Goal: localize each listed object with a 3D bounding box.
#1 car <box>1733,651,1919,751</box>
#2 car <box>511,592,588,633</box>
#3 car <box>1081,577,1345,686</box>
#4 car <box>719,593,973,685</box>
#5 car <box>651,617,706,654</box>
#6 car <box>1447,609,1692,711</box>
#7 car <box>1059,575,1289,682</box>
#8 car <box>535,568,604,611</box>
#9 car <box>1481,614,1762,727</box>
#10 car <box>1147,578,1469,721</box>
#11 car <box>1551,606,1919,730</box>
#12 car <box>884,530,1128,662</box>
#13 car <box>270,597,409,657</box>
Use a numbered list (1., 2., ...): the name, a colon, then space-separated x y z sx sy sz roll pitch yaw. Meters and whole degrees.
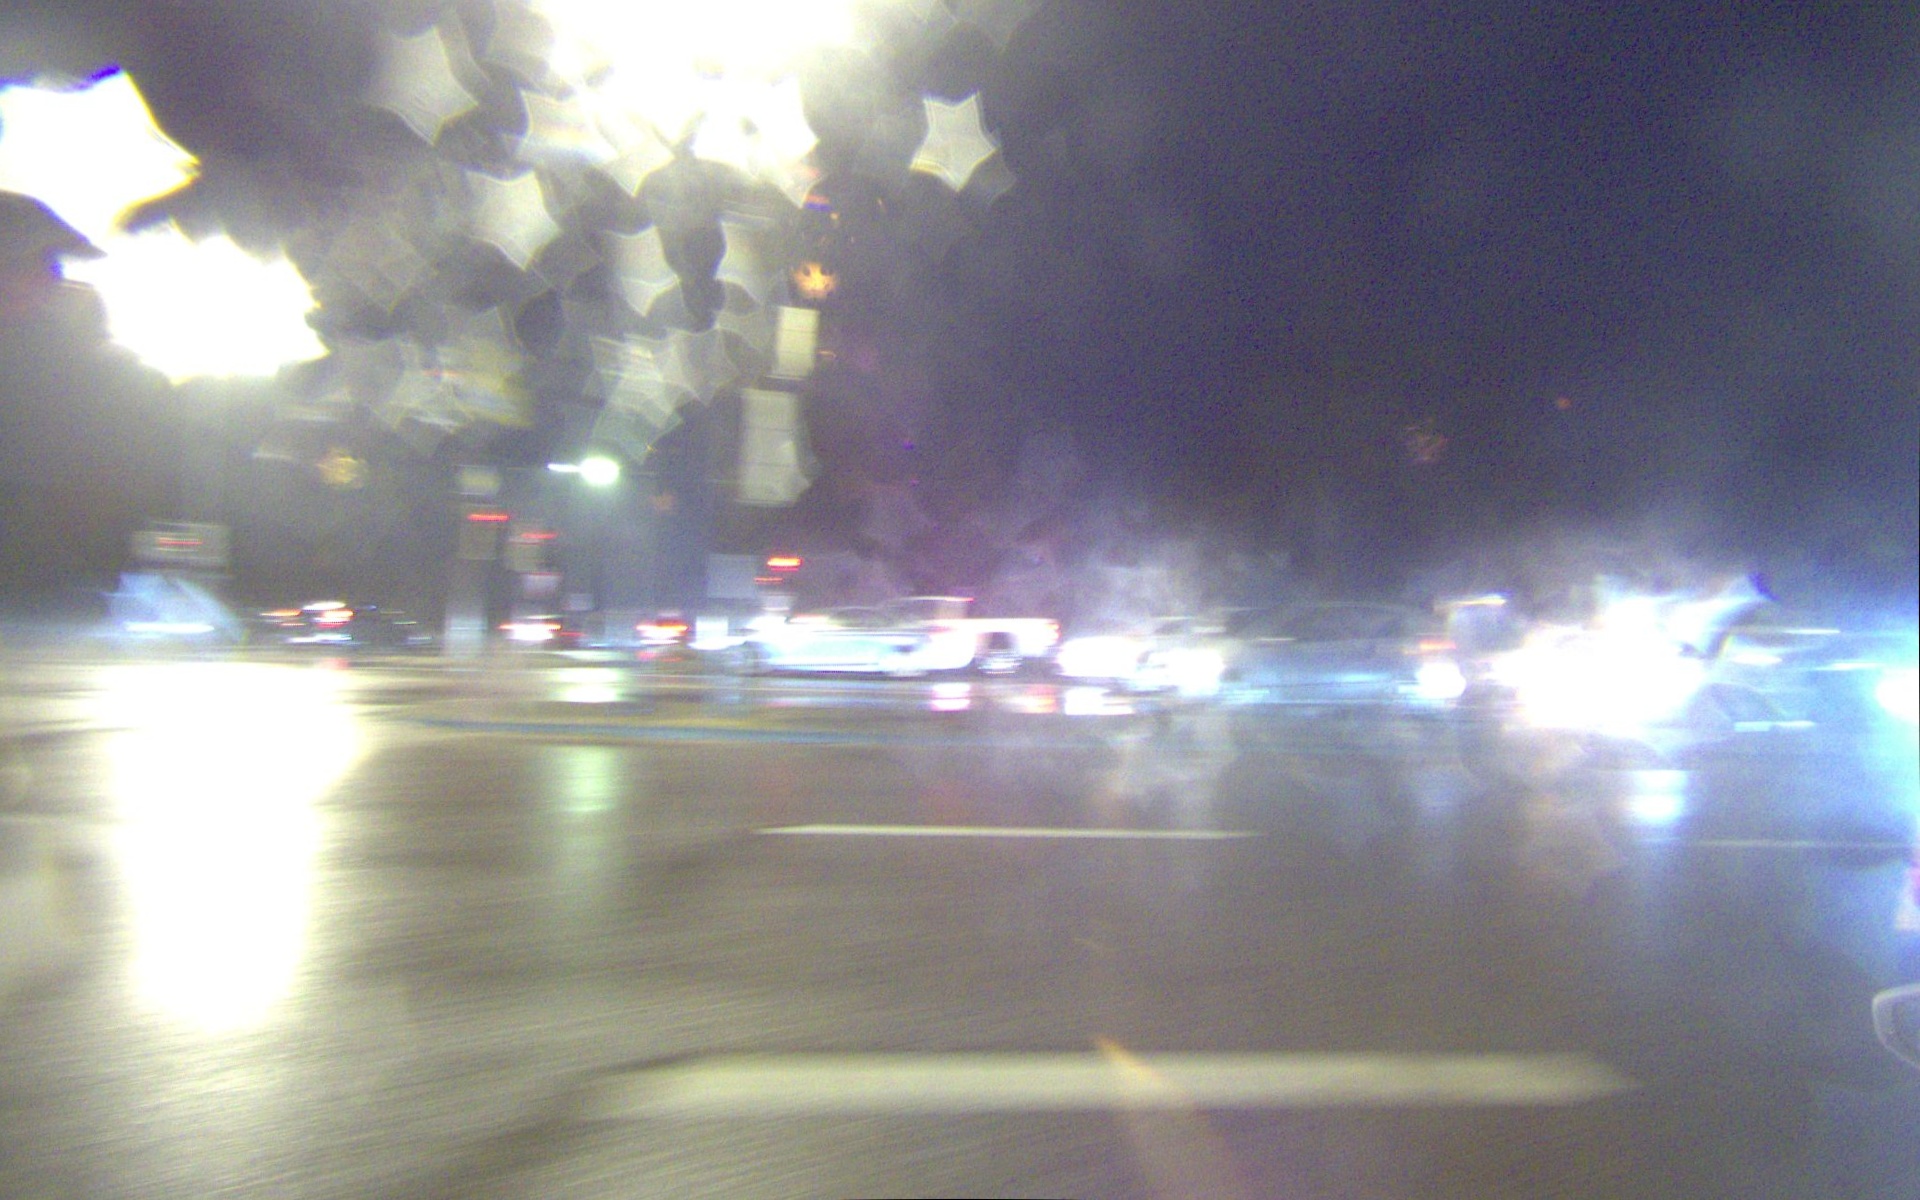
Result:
1. car: 19.673 2.227 22.079 4.047 1.872 1.764 4 0 -5
2. car: -17.041 0.478 41.917 1.709 1.455 4.286 3 2 -5
3. car: 4.211 0.513 17.117 3.979 1.507 1.718 4 0 -1
4. car: -2.190 0.747 19.895 4.712 1.446 1.764 4 0 -4
5. car: -14.336 1.772 51.286 1.821 1.612 4.020 4 0 -4
6. car: 13.005 1.248 21.586 4.170 1.823 1.803 4 0 -5
7. car: 4.293 0.549 20.536 4.204 1.873 1.764 3 2 -5
8. car: -20.477 -0.599 52.857 1.746 2.107 4.001 3 2 4
9. car: 11.838 1.228 18.122 3.902 1.688 1.803 4 0 -5
10. car: 4.763 0.651 14.063 3.828 1.748 1.764 2 1 -5
11. car: 11.036 0.918 14.227 4.328 1.503 1.781 2 0 -4
12. car: 1.170 -0.143 24.151 5.495 2.746 2.257 3 2 9
13. car: -16.786 0.673 27.420 1.804 1.426 4.113 3 0 -11
